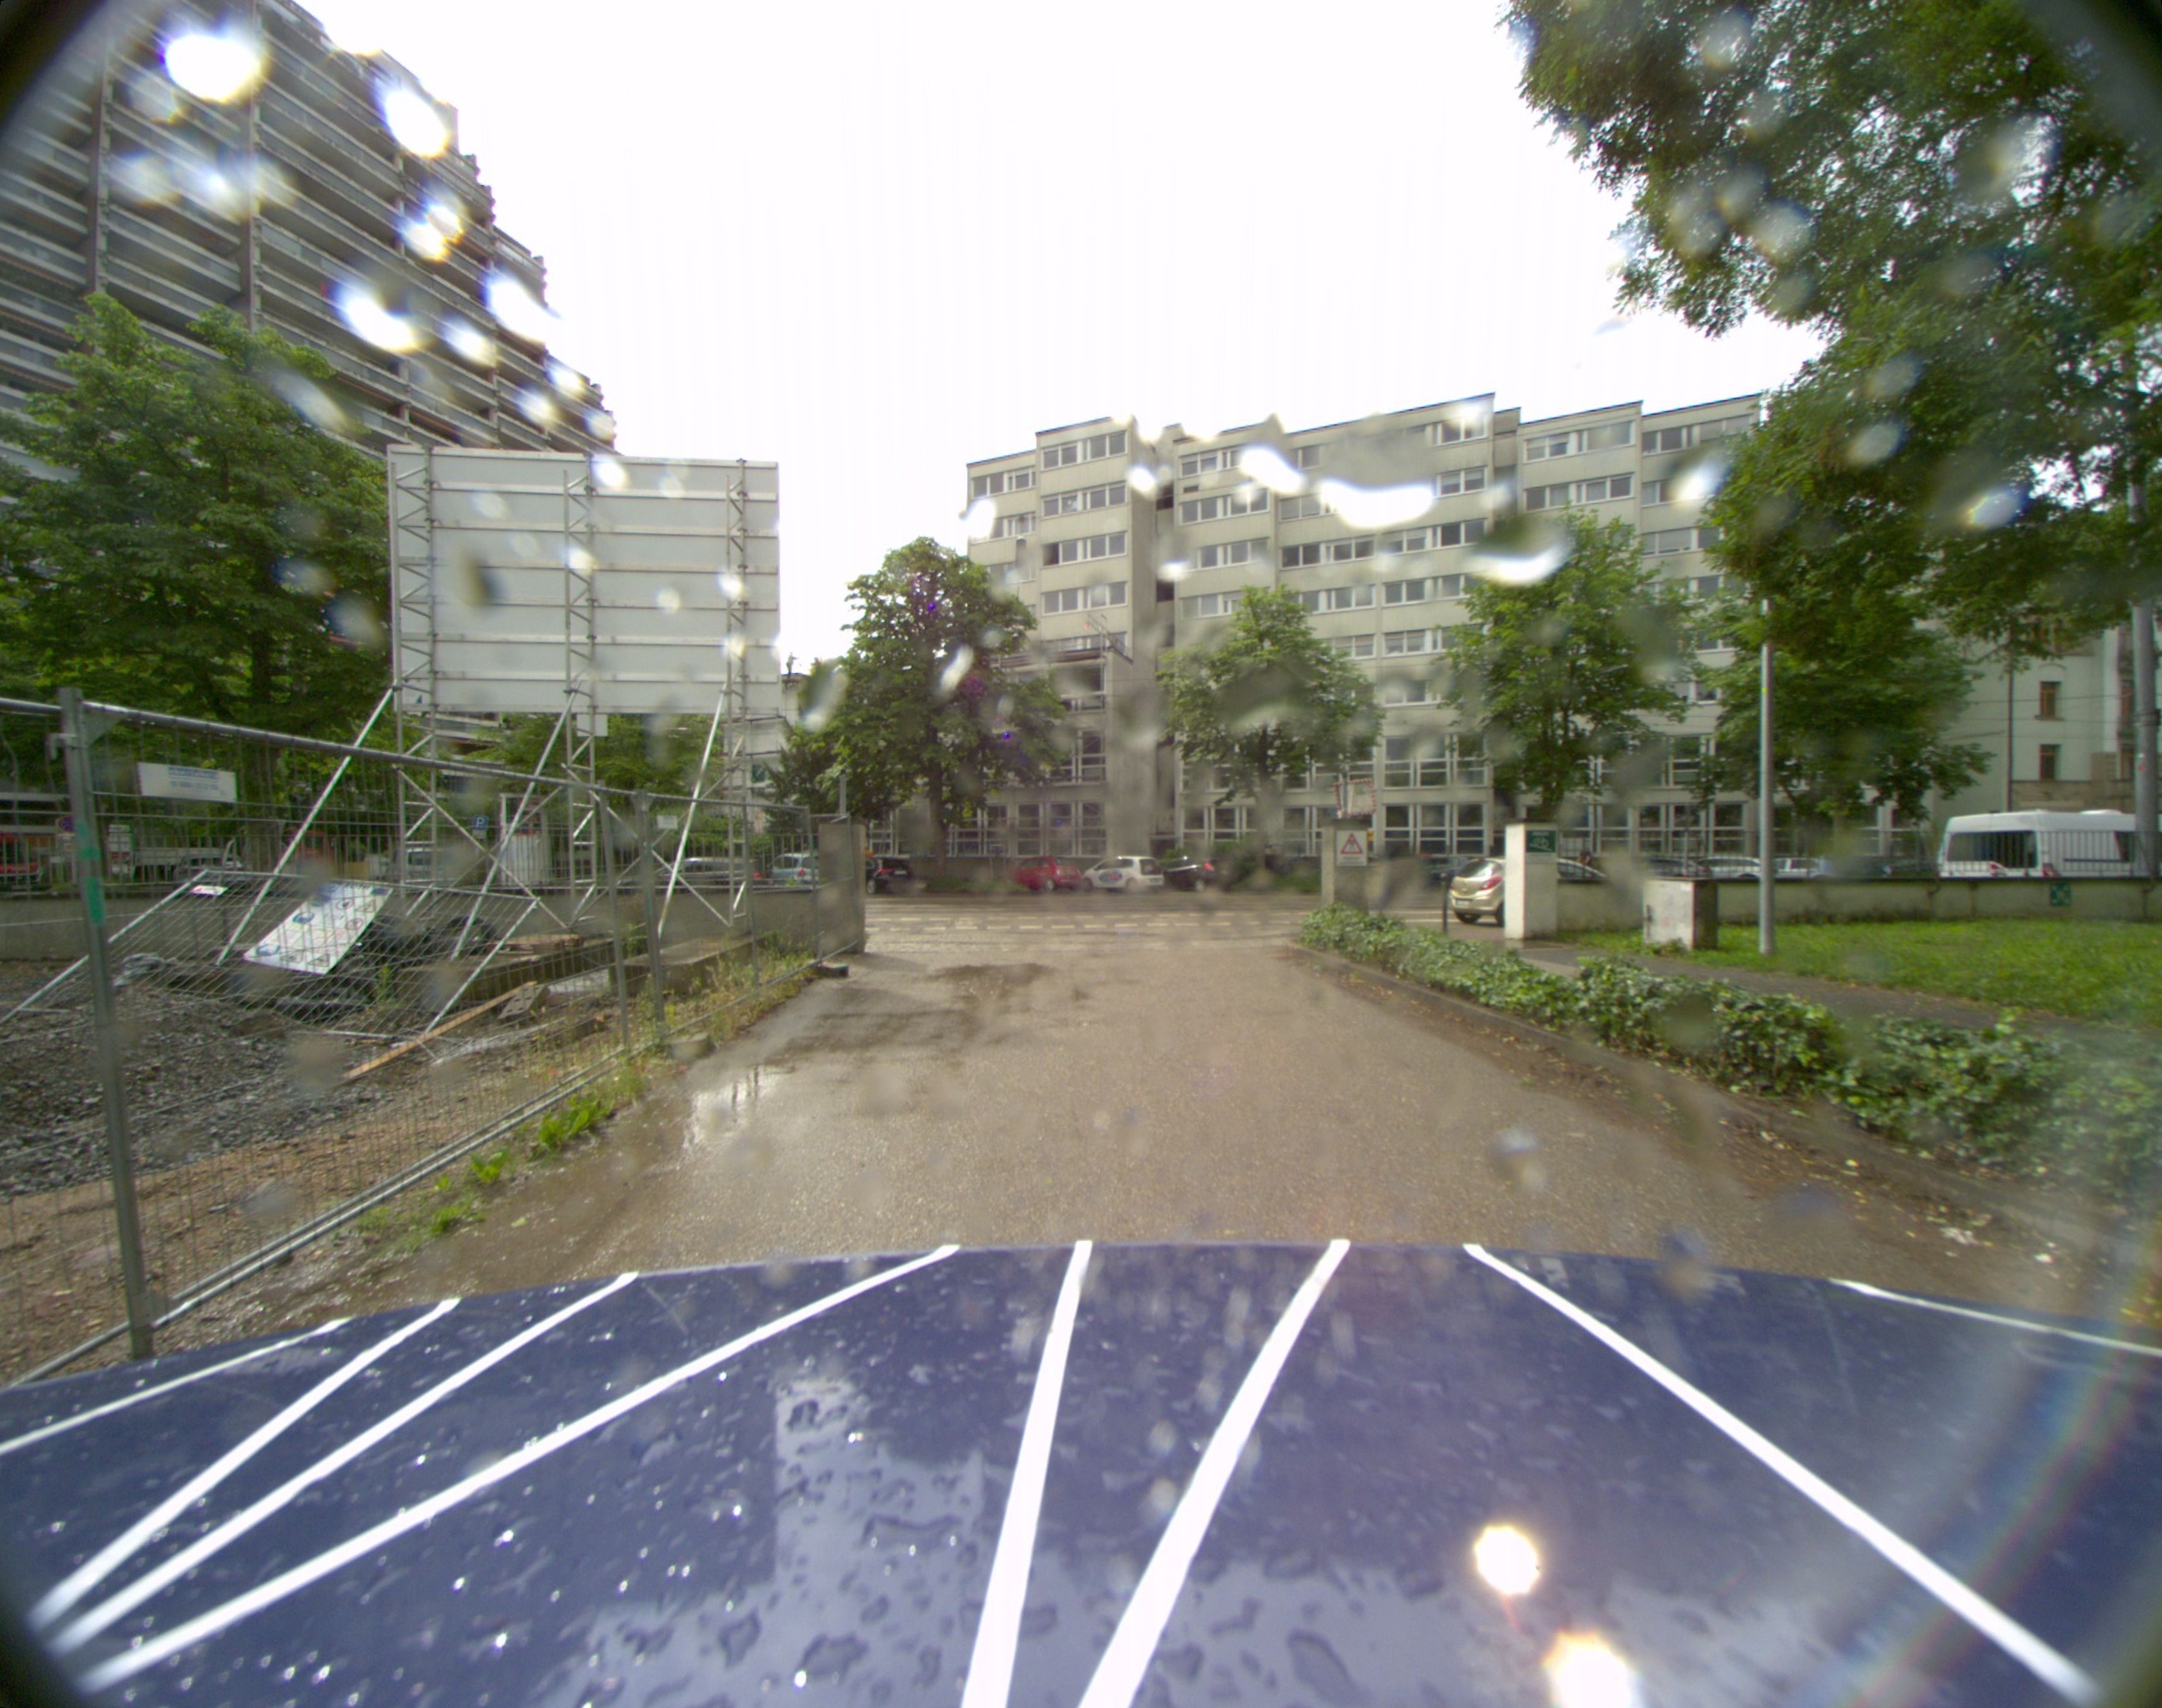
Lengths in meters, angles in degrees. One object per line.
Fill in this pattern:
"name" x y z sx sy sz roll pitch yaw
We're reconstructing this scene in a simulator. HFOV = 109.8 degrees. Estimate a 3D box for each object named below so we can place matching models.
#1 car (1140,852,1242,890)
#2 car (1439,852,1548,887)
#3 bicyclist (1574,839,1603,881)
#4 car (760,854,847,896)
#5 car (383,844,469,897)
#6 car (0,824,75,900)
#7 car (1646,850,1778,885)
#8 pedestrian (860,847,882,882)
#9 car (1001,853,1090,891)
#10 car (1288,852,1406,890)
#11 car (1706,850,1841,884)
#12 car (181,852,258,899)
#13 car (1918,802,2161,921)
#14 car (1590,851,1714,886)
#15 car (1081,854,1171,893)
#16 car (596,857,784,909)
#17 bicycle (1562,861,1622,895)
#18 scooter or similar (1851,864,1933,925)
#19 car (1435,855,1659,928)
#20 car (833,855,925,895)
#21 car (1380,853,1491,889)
"car" 4.559 0.704 31.902 1.820 1.472 3.967 -1 0 -42
"car" 17.883 0.692 33.034 3.871 1.445 1.782 -2 -2 40
"bicyclist" 19.560 0.228 29.286 0.673 1.607 0.645 -1 -1 1
"car" -10.947 0.773 29.892 3.639 1.542 1.712 0 1 42
"car" -25.083 0.575 29.026 4.631 1.885 1.942 0 0 42
"car" -39.859 0.293 27.235 5.474 2.618 2.304 0 0 9
"car" 27.913 0.614 33.728 4.383 1.444 1.889 -2 -1 42
"pedestrian" -10.643 0.526 38.555 0.837 1.732 0.709 -2 -1 45
"car" -1.491 0.703 31.330 3.398 1.461 1.746 0 -1 41
"car" 11.343 0.765 32.524 4.359 1.545 1.882 -2 -2 40
"car" 31.005 0.609 34.191 4.360 1.444 1.910 -2 -1 42
"car" -32.537 0.742 28.681 4.034 1.556 1.789 2 2 40
"car" 22.655 0.181 17.231 5.271 2.495 2.140 0 -1 -5
"car" 24.996 0.664 33.342 4.195 1.444 1.818 -2 -1 42
"car" 1.810 0.757 31.093 3.398 1.444 1.714 0 1 44
"car" -12.000 0.883 23.627 4.762 1.472 1.999 -1 -1 -6
"bicycle" 19.675 0.914 29.274 1.867 1.258 0.645 -1 -1 1
"scooter or similar" 17.804 0.870 16.699 0.427 1.269 1.145 2 0 -30
"car" 9.900 0.782 16.306 3.831 1.451 1.690 0 -1 -5
"car" -8.014 0.773 30.055 3.639 1.461 1.745 0 1 41
"car" 14.966 0.744 32.174 3.871 1.445 1.827 -2 -2 40
